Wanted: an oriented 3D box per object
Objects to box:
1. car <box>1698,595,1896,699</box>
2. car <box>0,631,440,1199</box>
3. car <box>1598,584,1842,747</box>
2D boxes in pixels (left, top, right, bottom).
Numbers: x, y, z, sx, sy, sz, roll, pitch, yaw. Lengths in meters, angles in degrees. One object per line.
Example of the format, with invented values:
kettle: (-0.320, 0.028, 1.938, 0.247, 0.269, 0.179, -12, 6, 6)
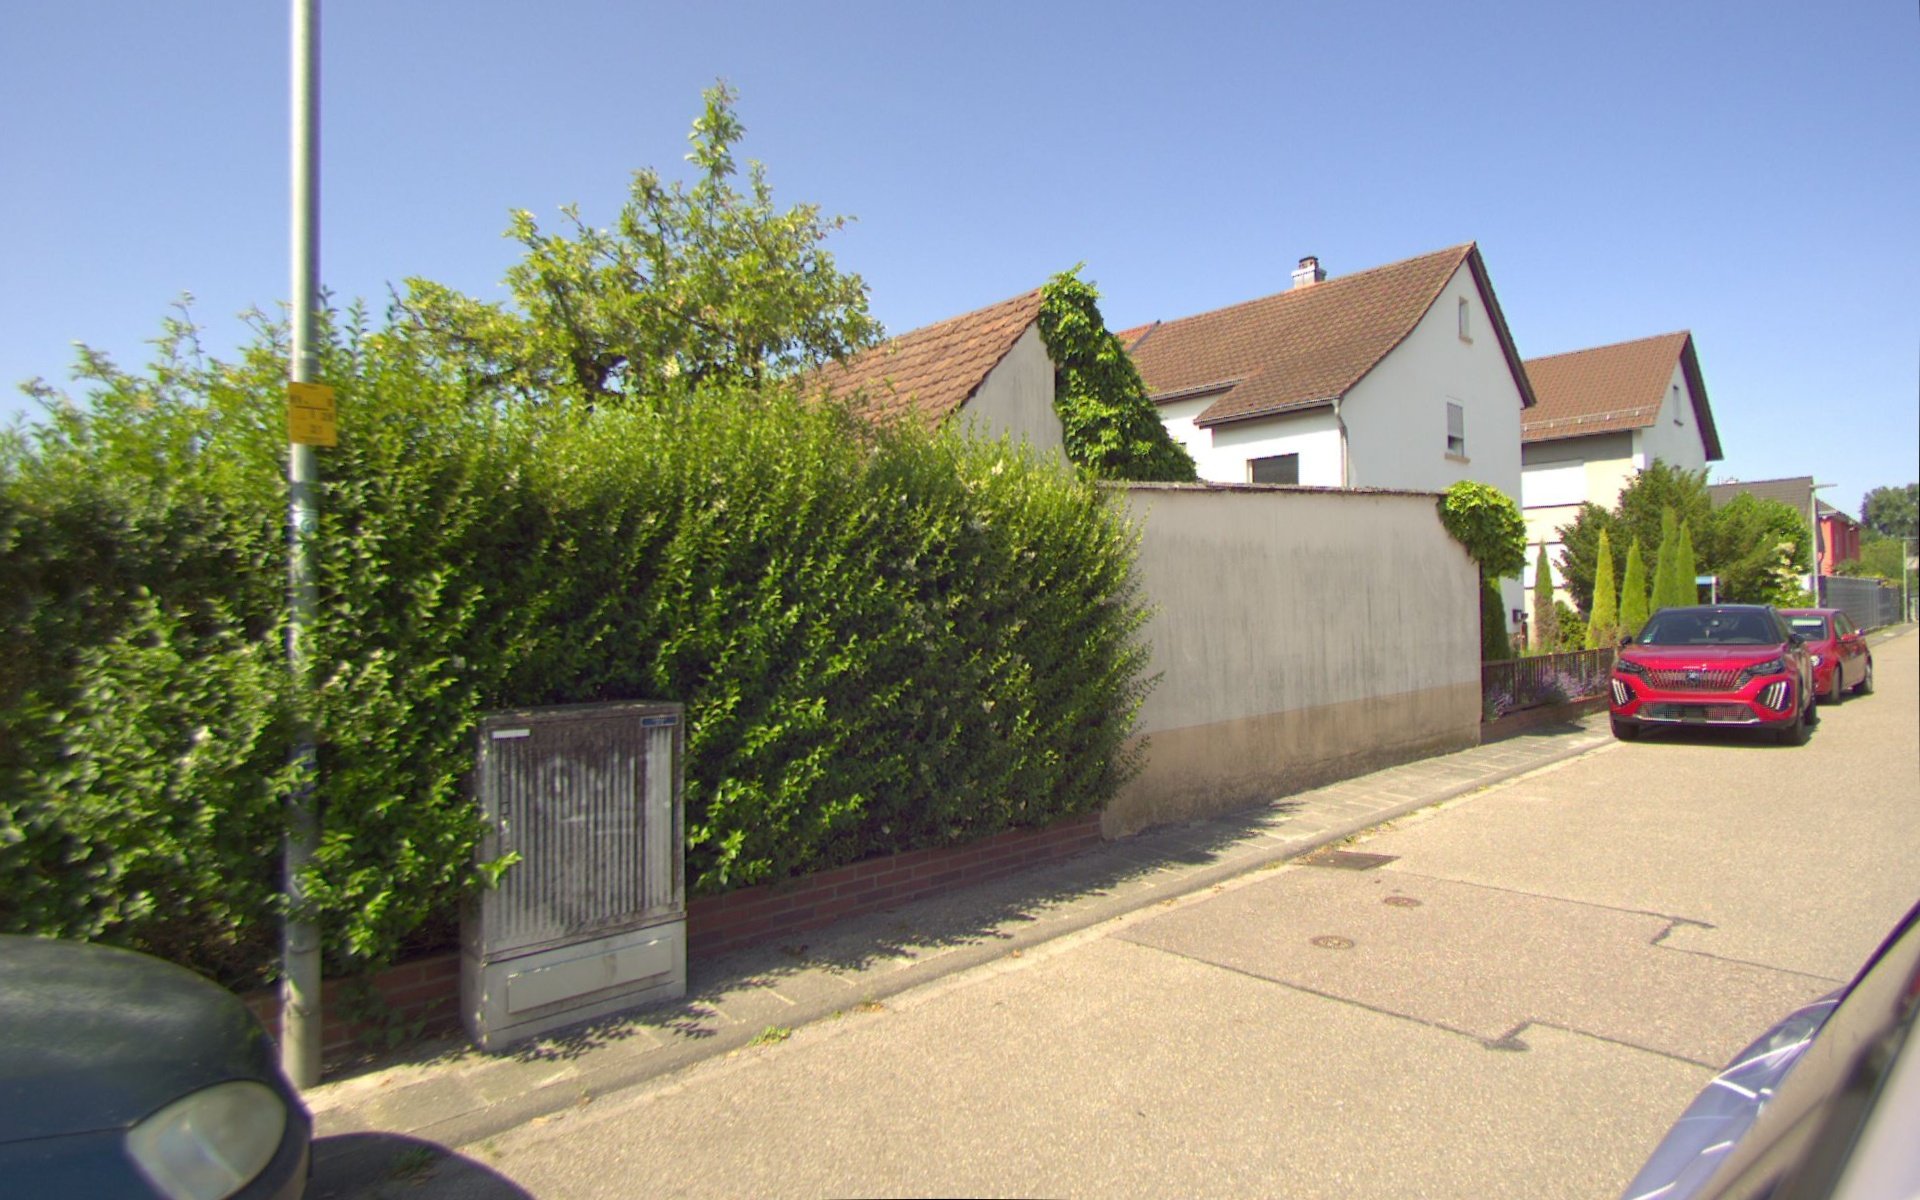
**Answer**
car: (13.939, 0.726, 16.781, 3.929, 1.498, 1.778, -1, -2, -40)
car: (-2.864, 0.808, 0.935, 3.935, 1.417, 1.703, -1, -2, -45)
car: (9.269, 0.671, 12.219, 1.822, 1.636, 3.936, -3, -2, 44)
